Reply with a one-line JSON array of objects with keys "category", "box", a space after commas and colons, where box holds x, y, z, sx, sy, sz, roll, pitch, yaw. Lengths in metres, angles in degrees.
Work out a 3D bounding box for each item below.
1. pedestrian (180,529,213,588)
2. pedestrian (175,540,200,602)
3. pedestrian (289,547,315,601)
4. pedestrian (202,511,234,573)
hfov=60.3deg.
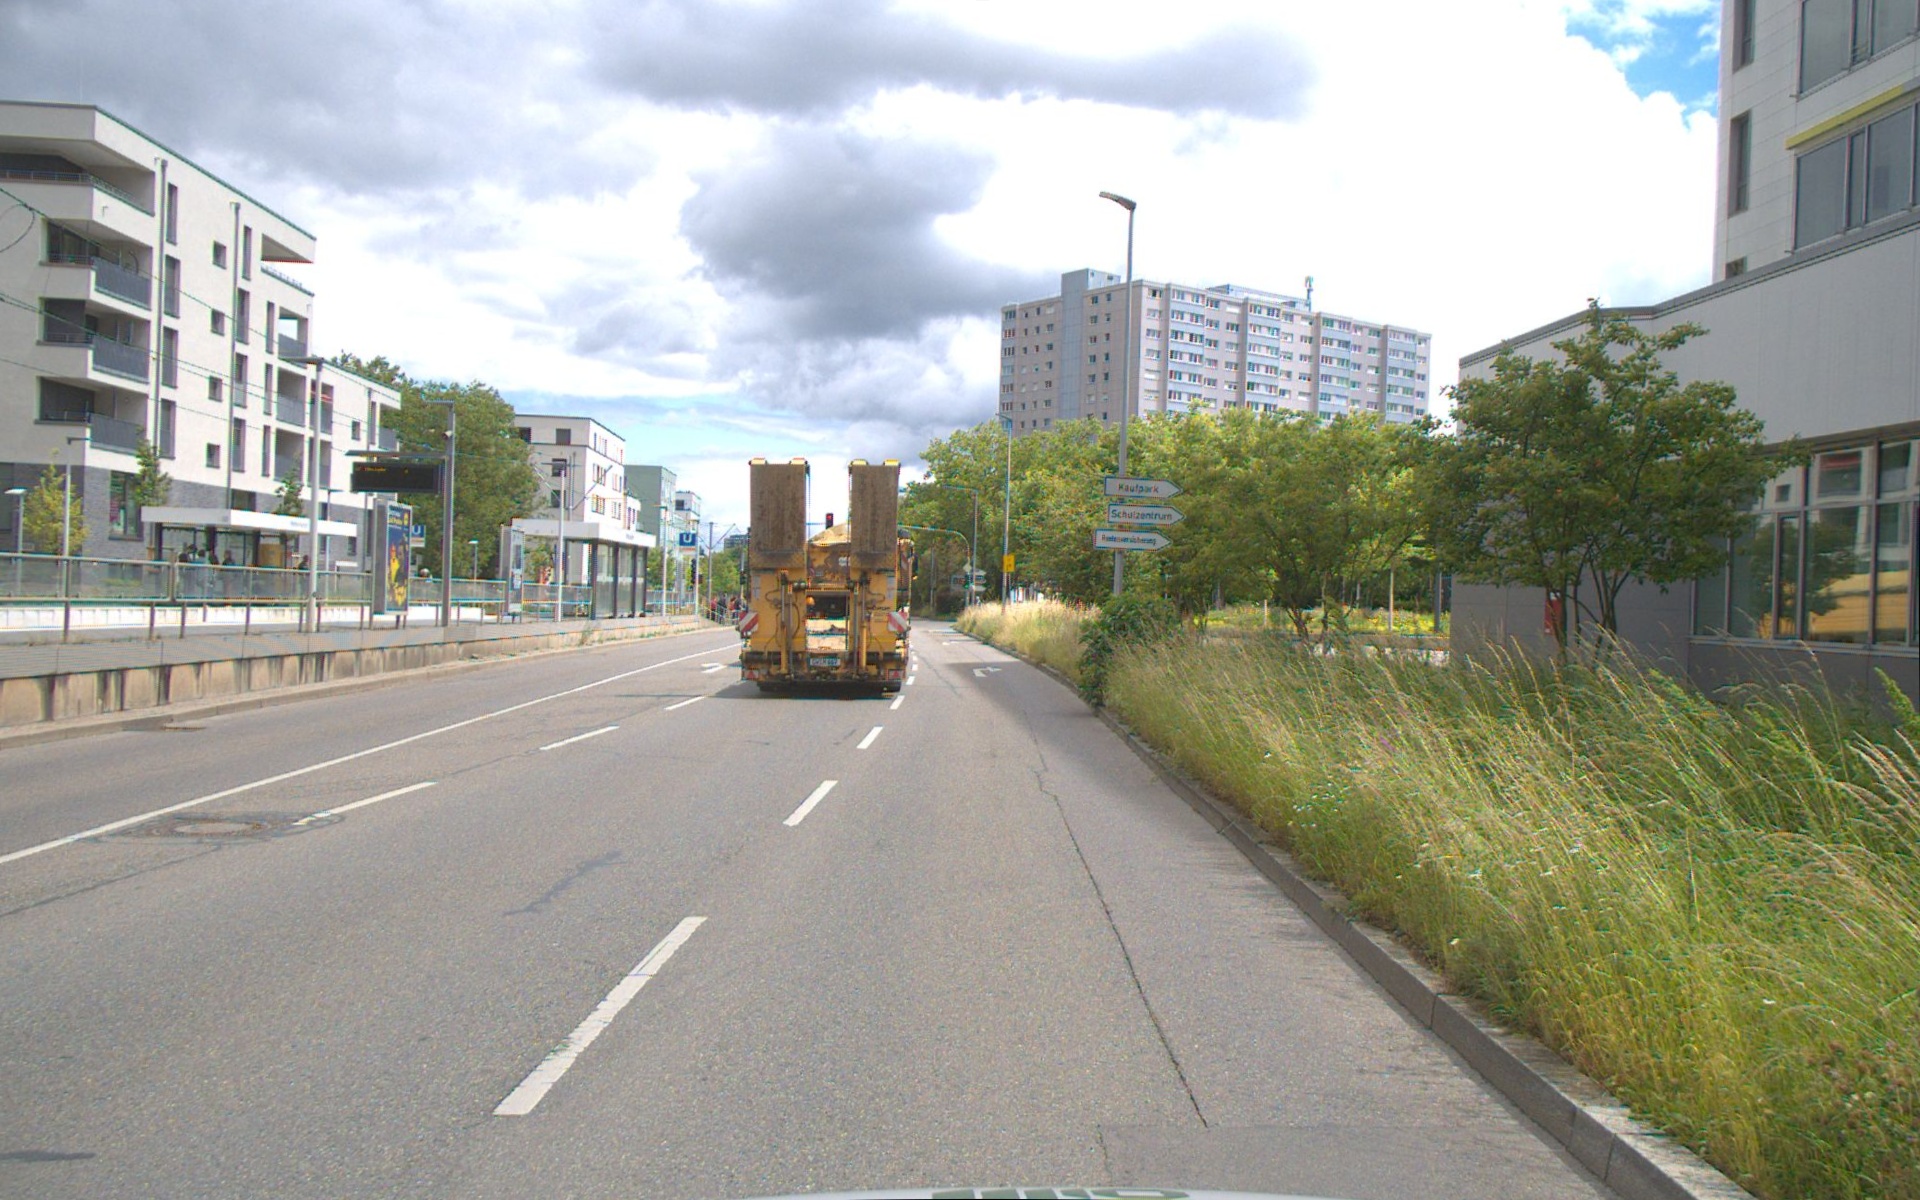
[{"category": "pedestrian", "box": [-21.568, -1.175, 46.715, 0.480, 1.624, 0.674, 2, 0, 40]}, {"category": "pedestrian", "box": [-22.199, -0.839, 47.505, 0.483, 1.755, 0.669, 2, 0, -37]}, {"category": "pedestrian", "box": [-22.425, -0.879, 56.386, 0.550, 1.796, 0.677, 2, 0, -1]}, {"category": "pedestrian", "box": [-22.038, -1.715, 49.139, 0.478, 1.796, 0.676, 2, 0, 32]}]
